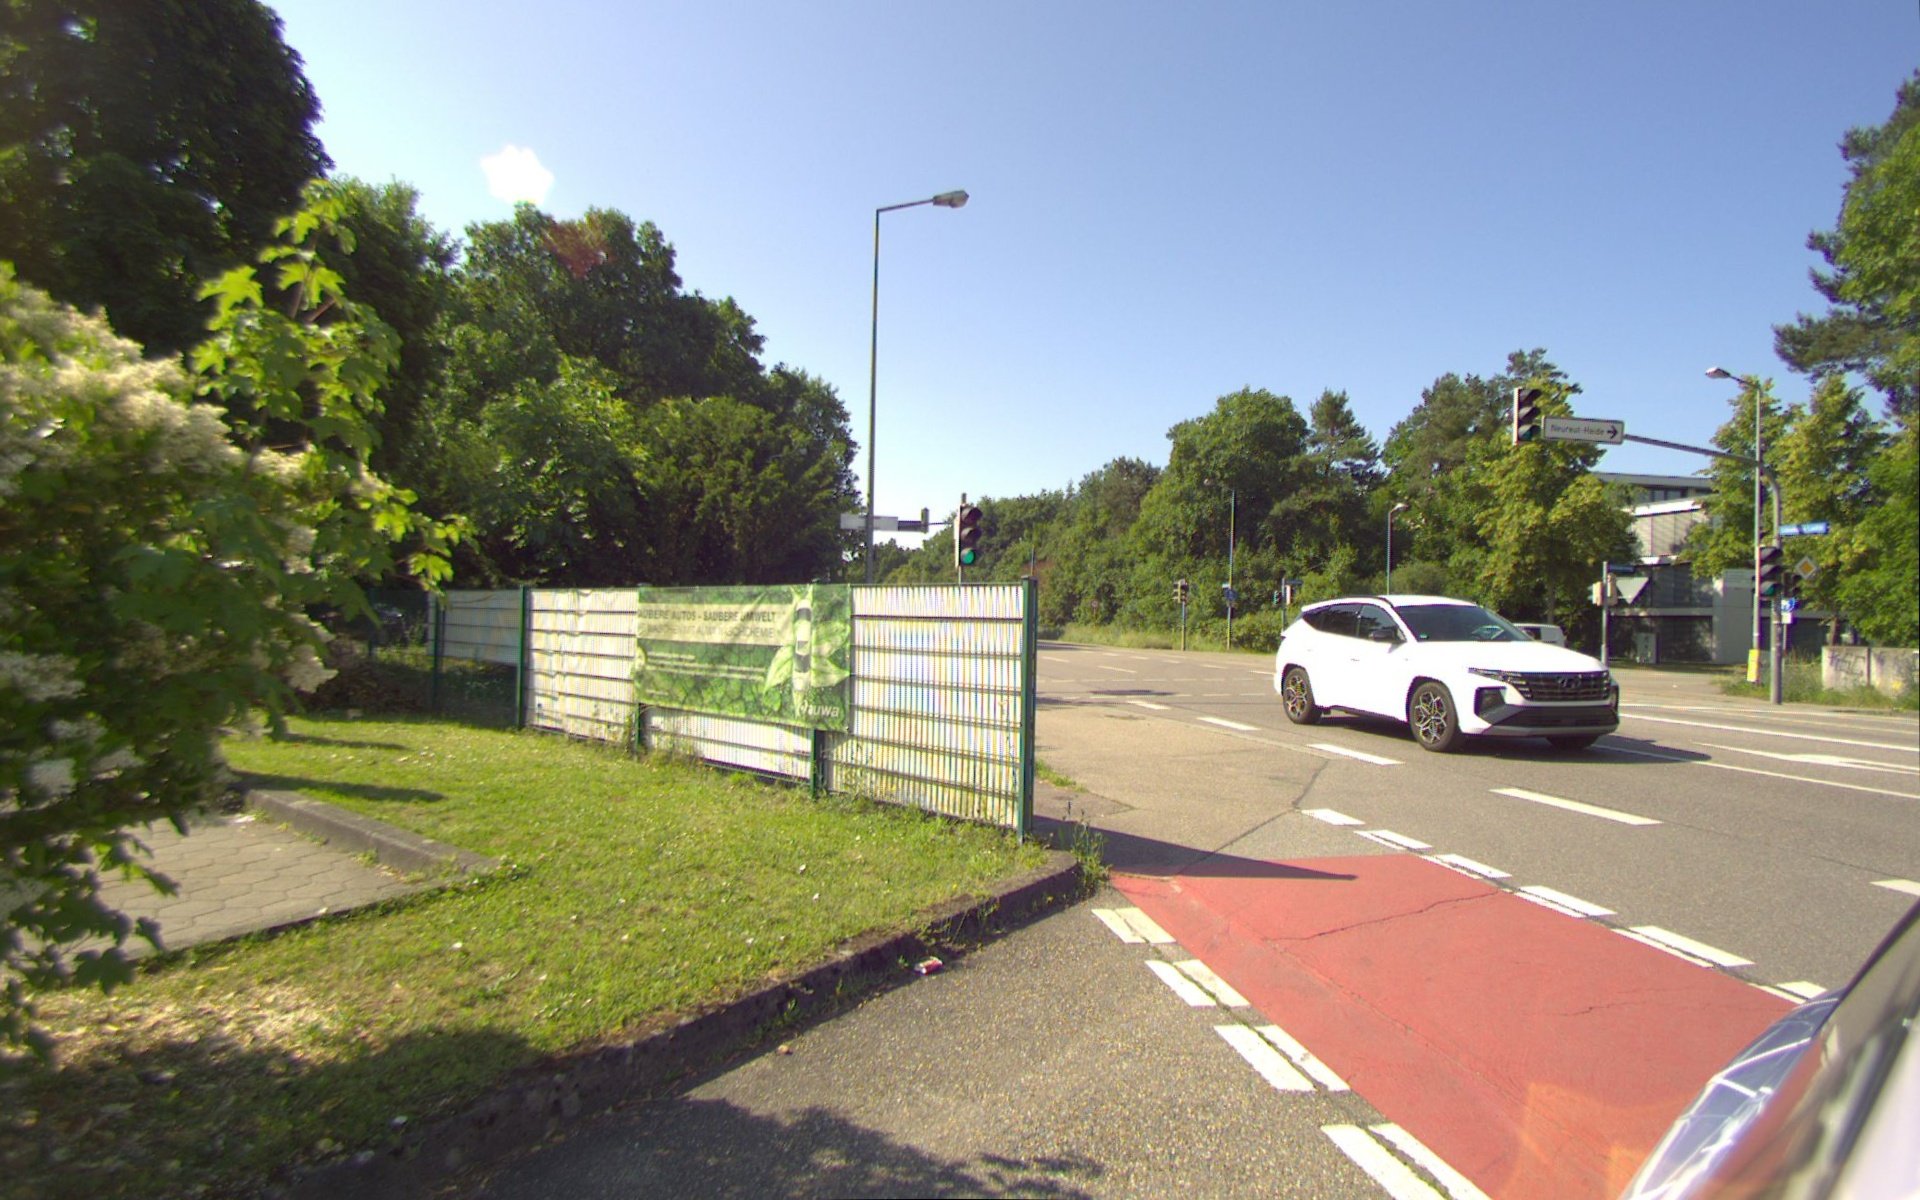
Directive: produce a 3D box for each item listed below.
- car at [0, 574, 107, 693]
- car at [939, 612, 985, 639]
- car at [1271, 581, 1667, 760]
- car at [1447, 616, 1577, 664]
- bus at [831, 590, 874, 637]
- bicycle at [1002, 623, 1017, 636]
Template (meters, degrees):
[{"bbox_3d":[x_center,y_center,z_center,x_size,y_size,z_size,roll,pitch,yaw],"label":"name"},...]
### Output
[{"bbox_3d":[-13.218,0.419,13.092,1.649,1.531,3.946,1,-1,-12],"label":"car"},{"bbox_3d":[0.072,1.398,56.383,1.753,1.442,4.429,-1,-1,-10],"label":"car"},{"bbox_3d":[5.539,0.687,11.779,1.776,1.669,4.314,0,-1,-12],"label":"car"},{"bbox_3d":[23.209,1.663,42.611,4.565,1.800,1.855,2,-1,-10],"label":"car"},{"bbox_3d":[-8.613,1.010,80.344,2.727,3.501,7.806,-1,0,-11],"label":"bus"},{"bbox_3d":[4.589,2.759,93.792,0.719,1.178,2.376,1,-1,-12],"label":"bicycle"}]
